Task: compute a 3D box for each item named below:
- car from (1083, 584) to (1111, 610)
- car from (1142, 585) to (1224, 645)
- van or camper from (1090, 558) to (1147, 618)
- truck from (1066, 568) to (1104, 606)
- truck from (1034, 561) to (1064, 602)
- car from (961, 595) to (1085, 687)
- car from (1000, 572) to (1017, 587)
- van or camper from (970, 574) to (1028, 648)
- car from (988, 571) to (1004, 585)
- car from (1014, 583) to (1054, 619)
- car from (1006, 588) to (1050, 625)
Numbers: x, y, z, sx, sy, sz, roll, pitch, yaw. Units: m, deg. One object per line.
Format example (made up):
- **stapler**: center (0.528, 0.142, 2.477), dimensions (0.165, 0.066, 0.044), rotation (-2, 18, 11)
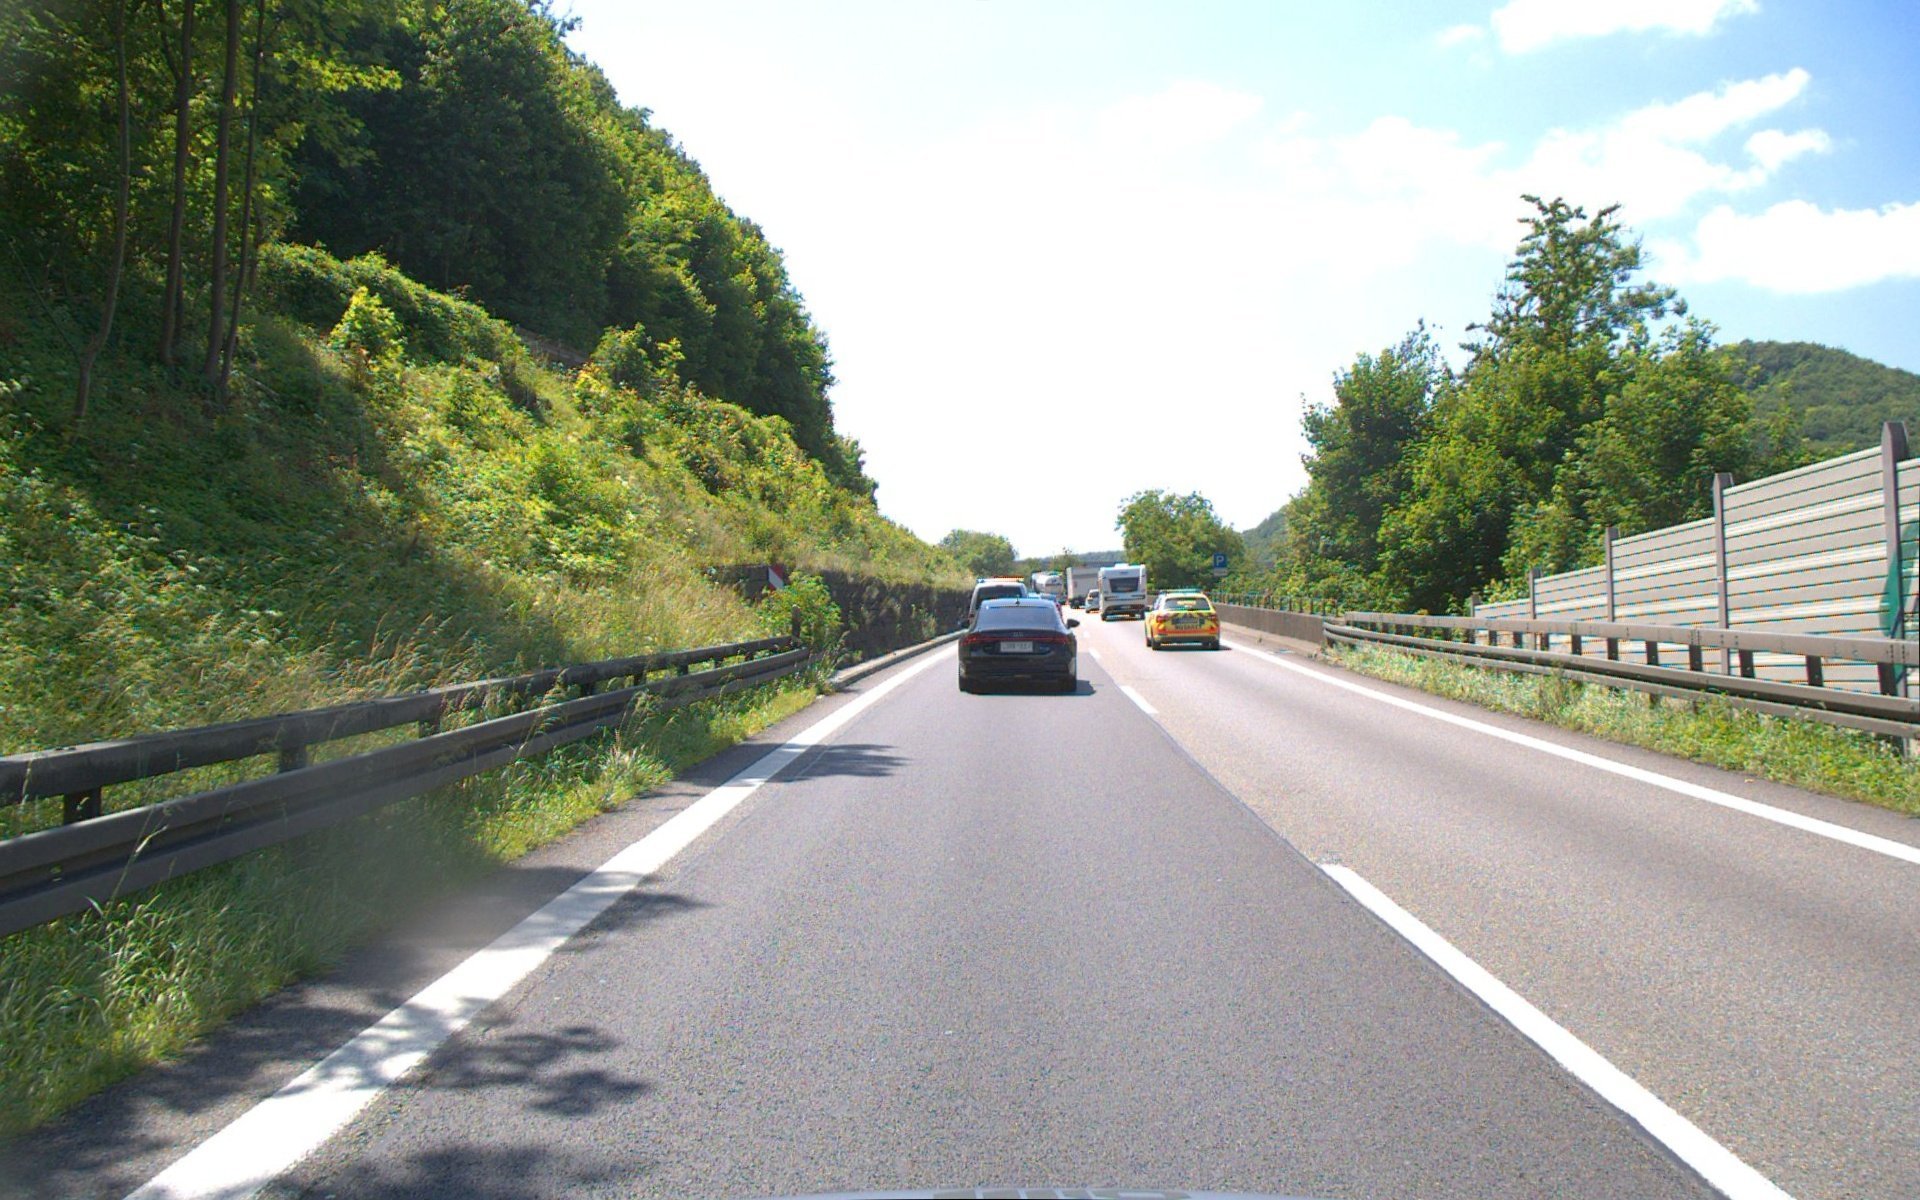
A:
- **car**: center (9.436, -0.223, 114.129), dimensions (1.803, 1.747, 4.002), rotation (0, 0, 3)
- **car**: center (5.898, 0.408, 44.076), dimensions (1.824, 1.514, 4.001), rotation (0, -1, 2)
- **van or camper**: center (7.984, -0.555, 83.876), dimensions (2.405, 2.969, 6.126), rotation (0, -1, 1)
- **truck**: center (10.702, -1.135, 142.493), dimensions (2.782, 3.186, 7.481), rotation (0, 0, 1)
- **truck**: center (9.473, -1.953, 176.351), dimensions (2.677, 4.168, 7.477), rotation (0, -1, -1)
- **car**: center (0.946, 0.638, 26.761), dimensions (1.800, 1.373, 3.999), rotation (0, -1, -1)
- **car**: center (6.720, -2.804, 228.924), dimensions (1.955, 2.049, 3.996), rotation (-1, 0, -5)
- **van or camper**: center (0.989, 0.304, 43.525), dimensions (1.363, 1.848, 3.999), rotation (0, -1, -1)
- **car**: center (5.523, -3.409, 254.755), dimensions (1.955, 2.049, 3.996), rotation (-1, 0, -5)
- **car**: center (3.467, 0.029, 78.027), dimensions (1.737, 1.665, 4.000), rotation (0, 0, 1)
- **car**: center (2.769, 0.282, 67.004), dimensions (1.710, 1.456, 4.001), rotation (0, -1, 3)
